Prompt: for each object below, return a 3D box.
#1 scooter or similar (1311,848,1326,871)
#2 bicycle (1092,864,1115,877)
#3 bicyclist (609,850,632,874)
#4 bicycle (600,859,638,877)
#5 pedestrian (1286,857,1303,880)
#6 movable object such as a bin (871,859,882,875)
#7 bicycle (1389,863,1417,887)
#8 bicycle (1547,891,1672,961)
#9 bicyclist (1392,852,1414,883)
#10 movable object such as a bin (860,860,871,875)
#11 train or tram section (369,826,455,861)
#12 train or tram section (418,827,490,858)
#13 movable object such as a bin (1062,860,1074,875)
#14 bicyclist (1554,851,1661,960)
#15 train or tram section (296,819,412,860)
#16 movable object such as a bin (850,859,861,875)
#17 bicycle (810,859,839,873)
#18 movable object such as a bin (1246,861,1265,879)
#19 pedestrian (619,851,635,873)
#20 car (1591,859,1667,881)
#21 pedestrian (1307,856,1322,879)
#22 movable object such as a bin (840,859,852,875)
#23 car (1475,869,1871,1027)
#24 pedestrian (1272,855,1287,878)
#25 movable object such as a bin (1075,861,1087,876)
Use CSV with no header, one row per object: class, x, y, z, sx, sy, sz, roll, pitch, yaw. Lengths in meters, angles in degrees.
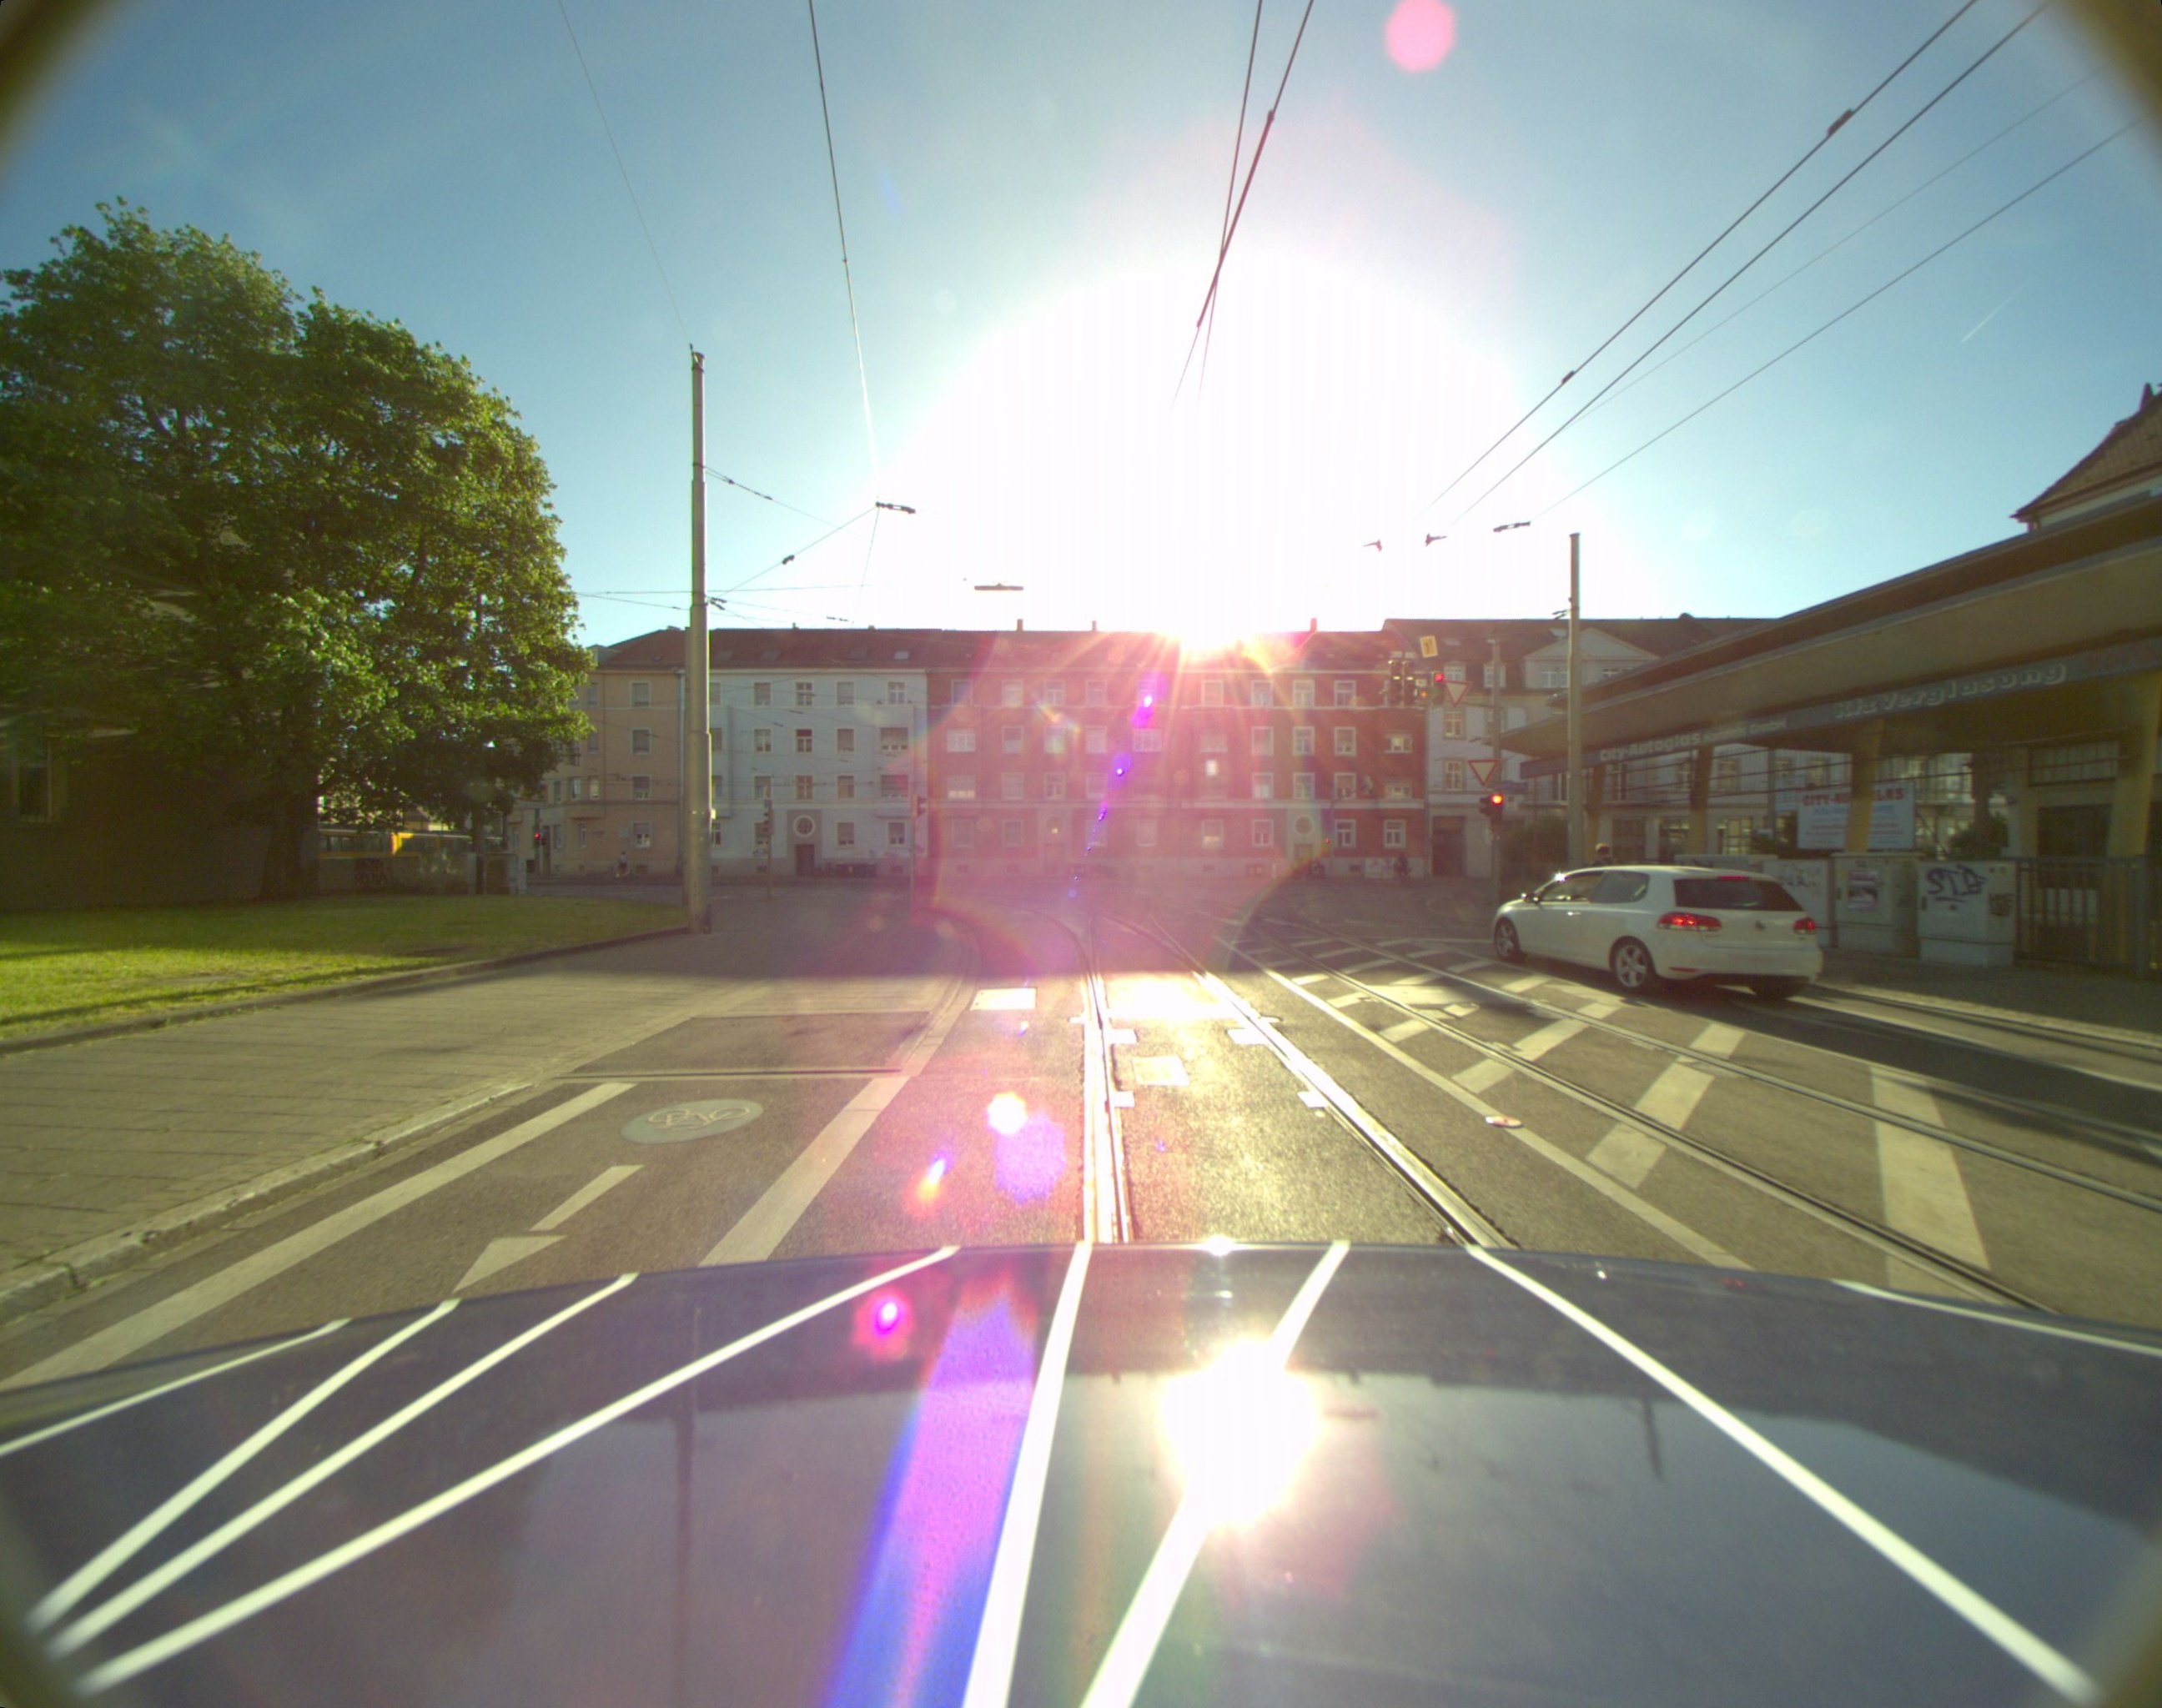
scooter or similar,16.794,0.405,53.748,0.797,1.624,0.653,0,1,-33
bicycle,1.606,1.202,54.692,1.602,0.885,0.335,1,1,4
bicyclist,-31.519,0.565,51.984,1.125,1.633,0.749,0,1,0
bicycle,-31.582,0.962,51.985,2.151,1.184,0.749,1,1,0
pedestrian,15.272,1.032,54.317,0.797,1.624,0.829,0,1,-38
movable object such as a bin,-14.631,0.949,54.372,0.582,1.100,0.704,0,1,-1
bicycle,16.285,1.054,38.456,0.894,1.119,2.067,0,0,10
bicycle,9.021,1.193,13.087,0.727,1.011,2.048,1,0,1
bicyclist,16.313,0.675,38.477,0.877,1.517,1.052,1,0,16
movable object such as a bin,-15.462,0.973,54.414,0.582,1.100,0.704,0,1,-1
train or tram section,-67.982,-1.113,77.590,3.169,3.337,10.658,0,1,-22
train or tram section,-71.954,-1.364,87.523,3.169,3.337,10.827,0,1,-22
movable object such as a bin,-0.943,0.975,54.388,0.811,1.034,0.845,0,0,-5
bicyclist,9.030,0.845,13.090,0.911,1.776,1.253,1,0,-5
train or tram section,-63.858,-1.254,67.213,3.171,3.302,11.795,0,1,-22
movable object such as a bin,-16.151,0.947,54.429,0.582,1.100,0.704,0,1,-1
bicycle,-18.333,0.837,54.409,1.876,0.974,0.607,1,2,-1
movable object such as a bin,12.528,1.169,54.654,1.232,1.242,0.874,0,0,6
pedestrian,-32.177,0.571,53.854,0.719,1.554,0.677,0,1,1
car,37.770,1.100,52.455,3.997,1.443,1.725,0,0,-1
pedestrian,16.773,0.936,54.552,0.797,1.624,0.653,0,1,-33
movable object such as a bin,-16.808,0.946,54.400,0.648,1.100,0.704,0,1,-1
car,7.030,0.983,9.726,1.795,1.449,4.190,2,0,1
pedestrian,14.177,0.889,54.262,0.655,1.624,0.794,0,1,-22
movable object such as a bin,0.018,1.025,54.443,0.811,1.034,0.845,0,0,-5
